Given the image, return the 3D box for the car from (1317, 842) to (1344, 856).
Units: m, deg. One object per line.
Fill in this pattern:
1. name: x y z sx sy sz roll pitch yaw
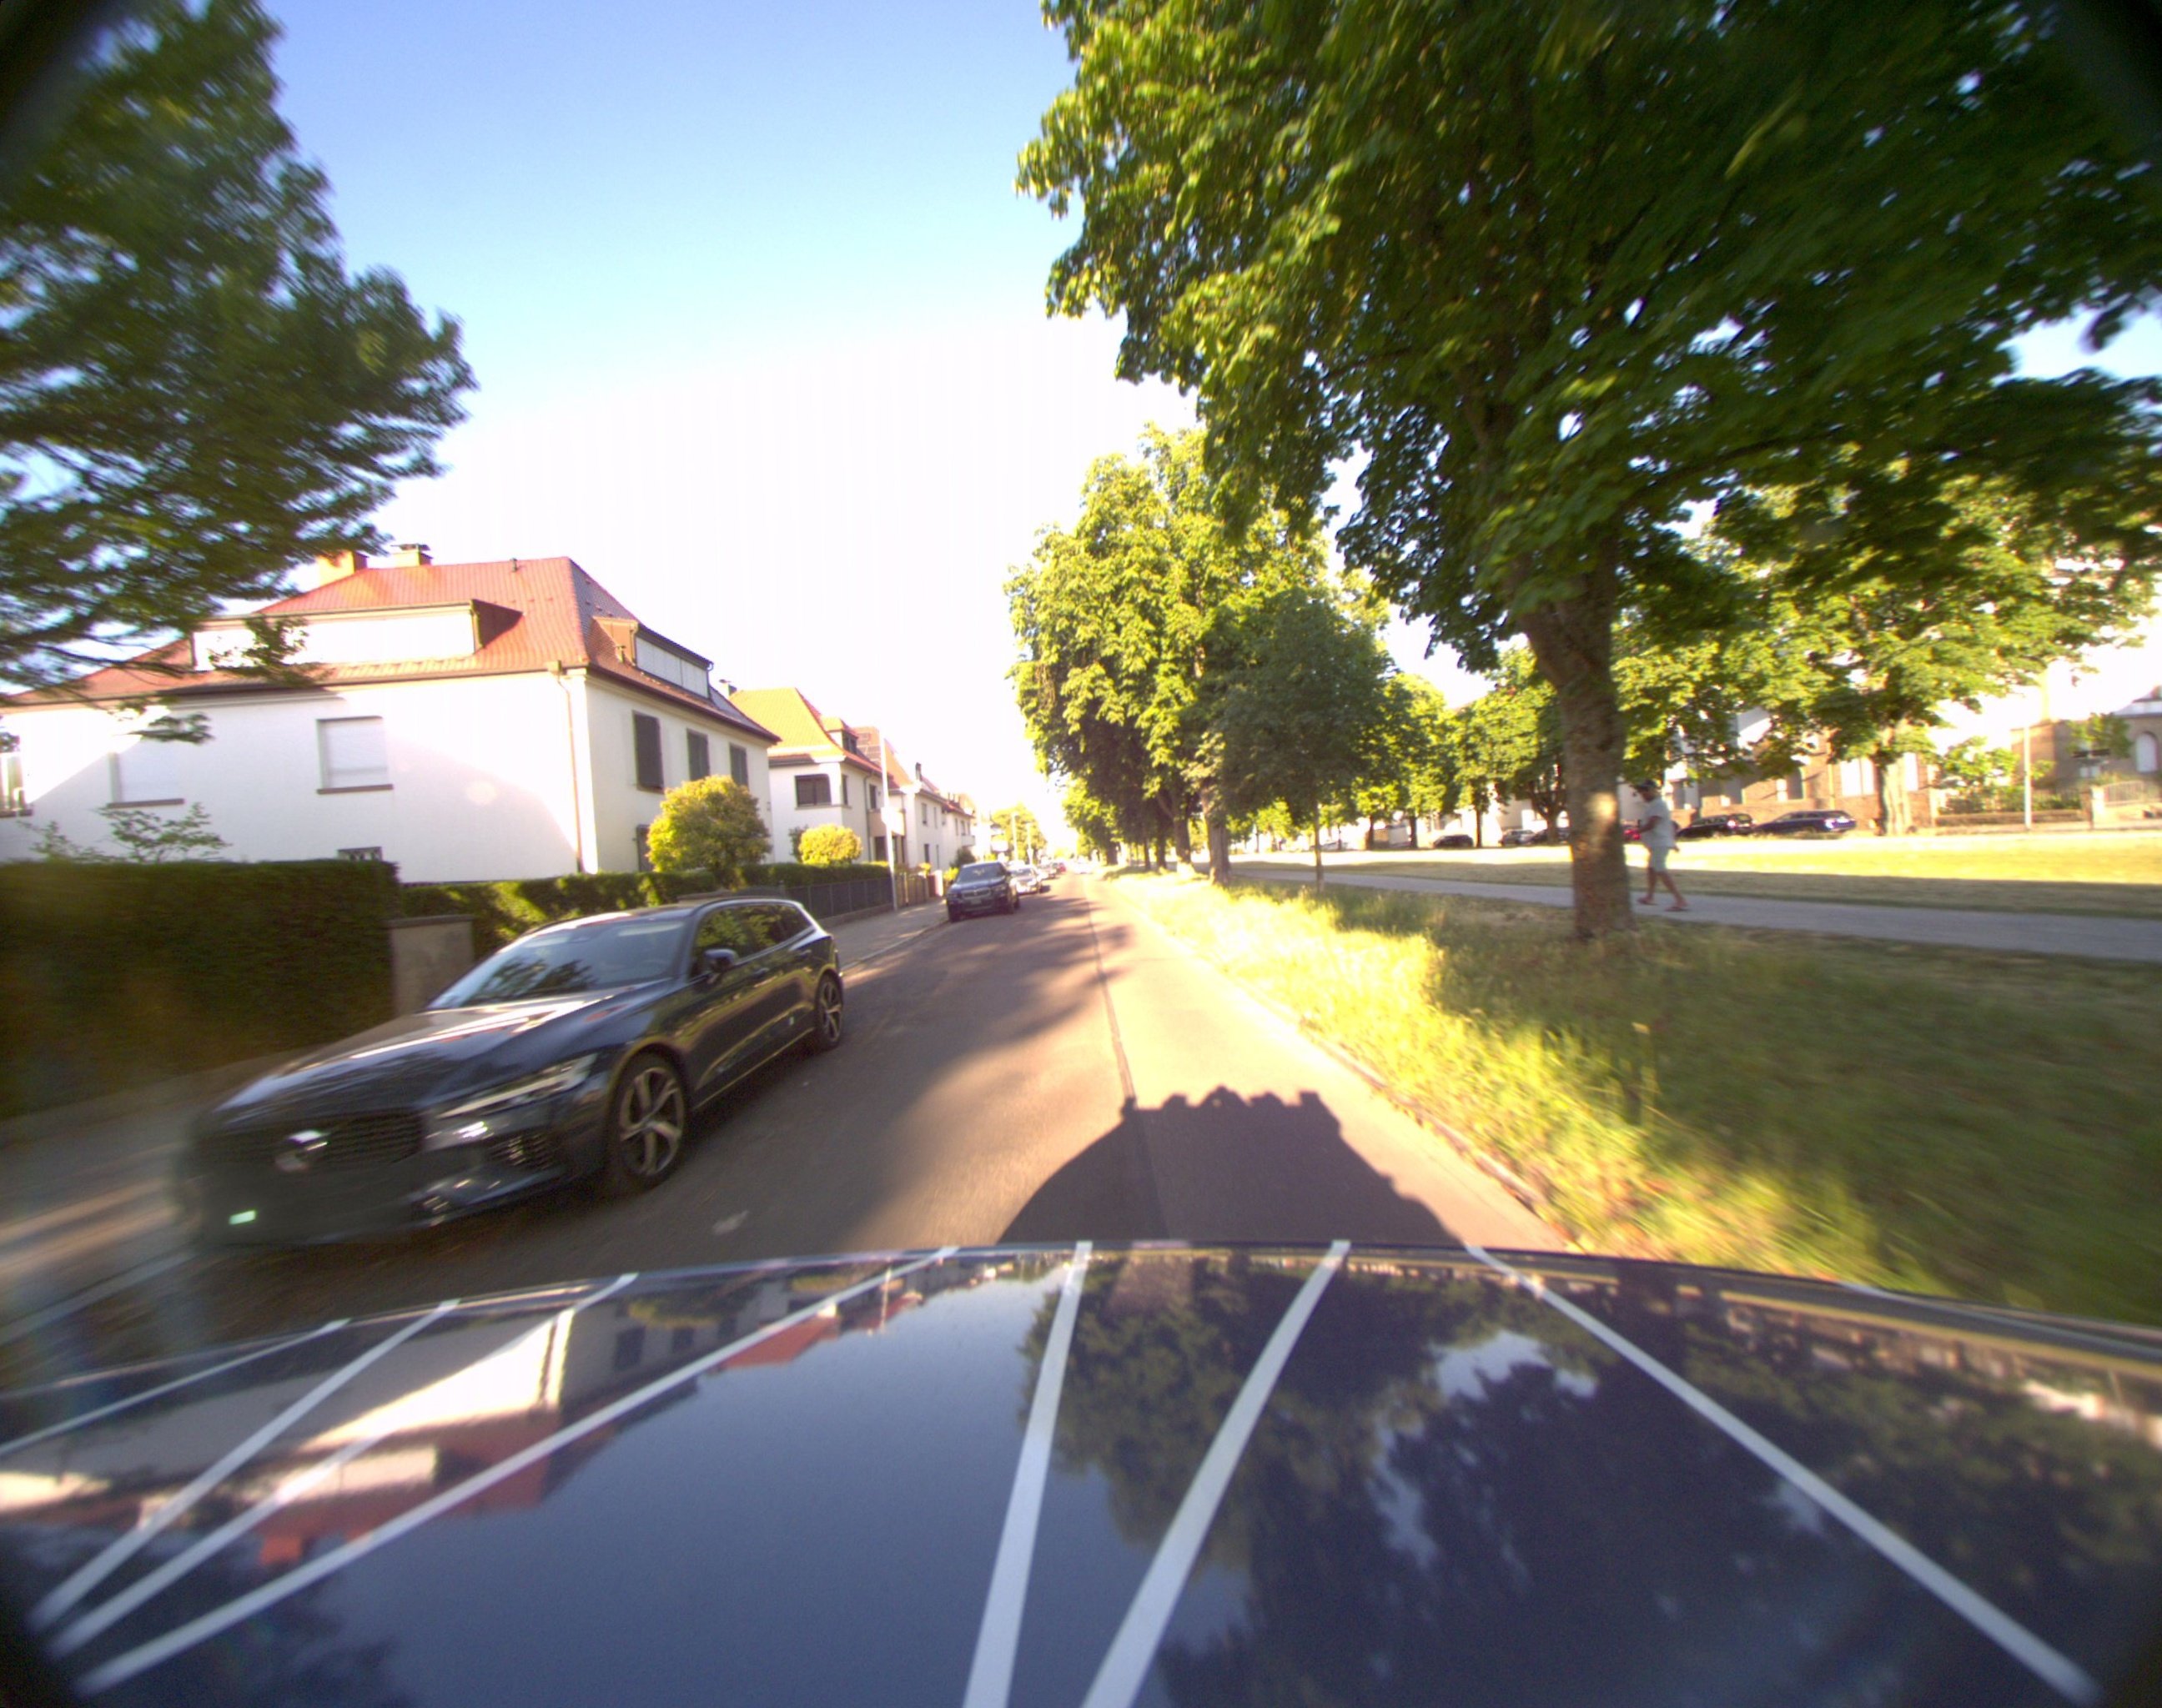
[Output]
1. car: 34.288 -0.670 104.579 1.998 1.680 4.876 -4 0 1

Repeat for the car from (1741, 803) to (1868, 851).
1. car: 39.781 -1.421 41.988 1.999 1.738 5.011 10 -5 -2

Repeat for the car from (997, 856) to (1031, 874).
1. car: -8.267 1.331 94.157 3.998 1.917 1.999 -4 0 -3

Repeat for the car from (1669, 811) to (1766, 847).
1. car: 39.704 -1.510 47.564 1.998 2.002 4.876 -4 0 2

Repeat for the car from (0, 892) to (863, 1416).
1. car: -3.084 1.206 5.092 1.798 1.483 4.673 -5 1 0

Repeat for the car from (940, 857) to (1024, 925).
1. car: -3.132 1.115 25.019 1.999 1.727 4.863 -7 0 -1

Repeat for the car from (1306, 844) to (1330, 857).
1. car: 34.314 -0.528 110.064 1.998 1.680 4.876 -4 0 1

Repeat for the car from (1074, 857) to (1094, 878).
1. car: 0.339 1.417 81.524 1.998 2.002 4.000 -5 0 0

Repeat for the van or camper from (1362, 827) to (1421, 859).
1. van or camper: 34.510 -1.169 84.724 3.262 3.092 7.896 -4 0 1

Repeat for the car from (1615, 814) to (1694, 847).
1. car: 39.743 -1.587 52.790 1.999 2.002 4.428 -4 0 -1

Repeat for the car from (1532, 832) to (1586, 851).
1. car: 40.307 -1.030 64.205 1.998 1.421 4.170 -4 0 2

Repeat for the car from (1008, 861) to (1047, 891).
1. car: -3.118 1.261 45.356 1.999 1.455 4.549 -8 0 -2

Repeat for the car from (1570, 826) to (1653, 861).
1. car: 34.147 -0.651 49.112 1.998 2.002 4.876 -4 0 2

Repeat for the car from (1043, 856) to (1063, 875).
1. car: -2.996 1.186 82.465 1.863 1.710 4.467 -9 0 -1

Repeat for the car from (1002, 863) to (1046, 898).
1. car: -2.858 1.304 39.074 1.784 1.454 4.593 -7 0 0

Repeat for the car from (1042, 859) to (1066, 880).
1. car: -2.277 1.302 64.922 1.784 1.490 4.397 -7 0 -1

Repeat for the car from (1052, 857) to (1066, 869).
1. car: -3.116 1.238 108.771 1.824 1.486 4.224 -4 0 -1

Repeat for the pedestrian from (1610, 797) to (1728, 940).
1. pedestrian: 7.694 0.183 9.989 0.726 1.747 0.993 -4 0 7

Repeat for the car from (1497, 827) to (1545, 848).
1. car: 39.946 -1.471 69.111 1.998 1.724 4.000 -4 0 2
